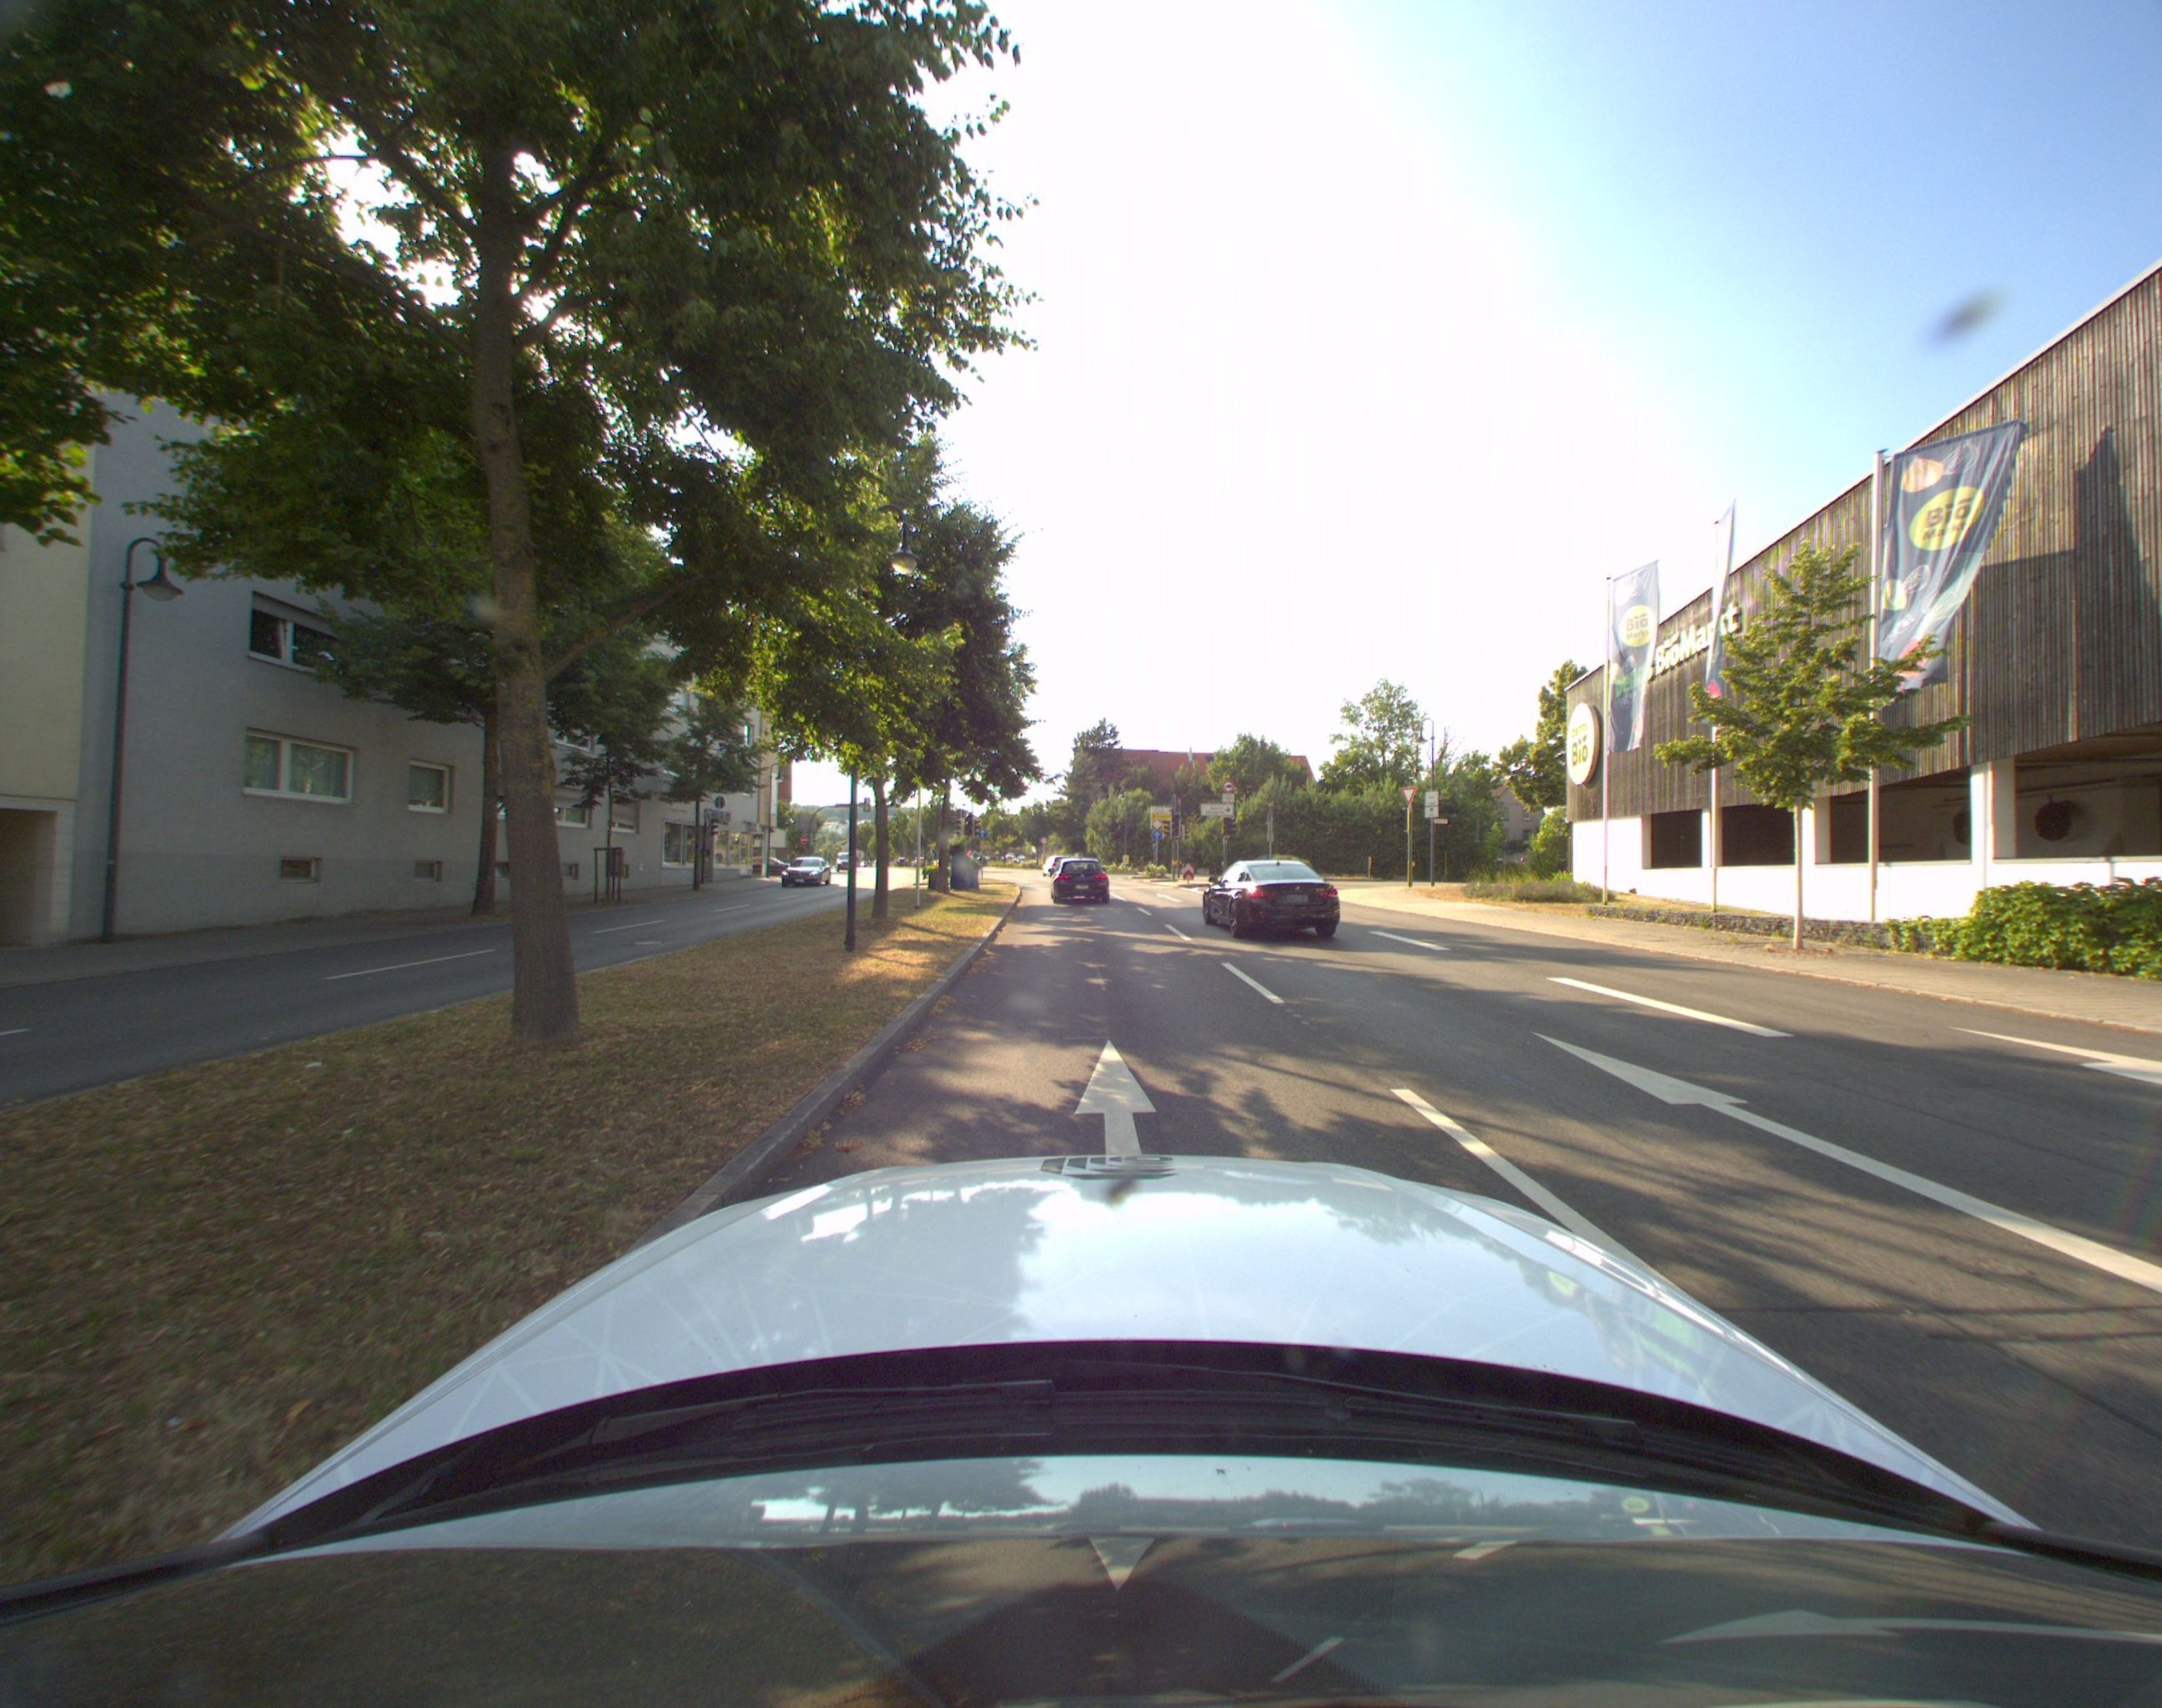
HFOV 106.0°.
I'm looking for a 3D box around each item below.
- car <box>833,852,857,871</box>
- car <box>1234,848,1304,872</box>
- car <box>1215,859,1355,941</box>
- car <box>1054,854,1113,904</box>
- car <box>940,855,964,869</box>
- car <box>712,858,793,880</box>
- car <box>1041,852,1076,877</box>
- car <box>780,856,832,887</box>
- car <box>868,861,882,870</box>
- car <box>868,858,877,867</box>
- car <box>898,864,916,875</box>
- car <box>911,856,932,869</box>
[{"bbox_3d":[-22.508,0.720,77.496,1.859,1.736,4.888,-1,-1,-20],"label":"car"},{"bbox_3d":[12.701,0.394,55.126,4.216,1.567,1.804,0,0,31],"label":"car"},{"bbox_3d":[3.781,0.794,15.874,1.912,1.364,4.357,-1,-1,4],"label":"car"},{"bbox_3d":[0.151,0.771,26.687,1.714,1.490,4.356,0,-1,3],"label":"car"},{"bbox_3d":[-16.611,1.000,105.060,2.225,1.769,4.423,0,0,-20],"label":"car"},{"bbox_3d":[-22.407,1.004,55.695,4.860,1.436,1.910,-1,-1,-11],"label":"car"},{"bbox_3d":[-1.653,0.747,58.515,1.925,1.769,4.440,0,0,-9],"label":"car"},{"bbox_3d":[-14.089,0.867,41.967,1.853,1.486,4.976,-1,0,-11],"label":"car"},{"bbox_3d":[-42.227,2.330,166.677,2.225,1.769,4.423,0,0,-20],"label":"car"},{"bbox_3d":[-45.572,1.903,178.074,1.776,2.014,3.978,0,0,-16],"label":"car"},{"bbox_3d":[-27.540,2.424,128.744,2.225,1.769,4.423,0,0,-20],"label":"car"},{"bbox_3d":[-22.129,1.184,112.929,2.225,1.769,4.423,0,0,-20],"label":"car"}]
